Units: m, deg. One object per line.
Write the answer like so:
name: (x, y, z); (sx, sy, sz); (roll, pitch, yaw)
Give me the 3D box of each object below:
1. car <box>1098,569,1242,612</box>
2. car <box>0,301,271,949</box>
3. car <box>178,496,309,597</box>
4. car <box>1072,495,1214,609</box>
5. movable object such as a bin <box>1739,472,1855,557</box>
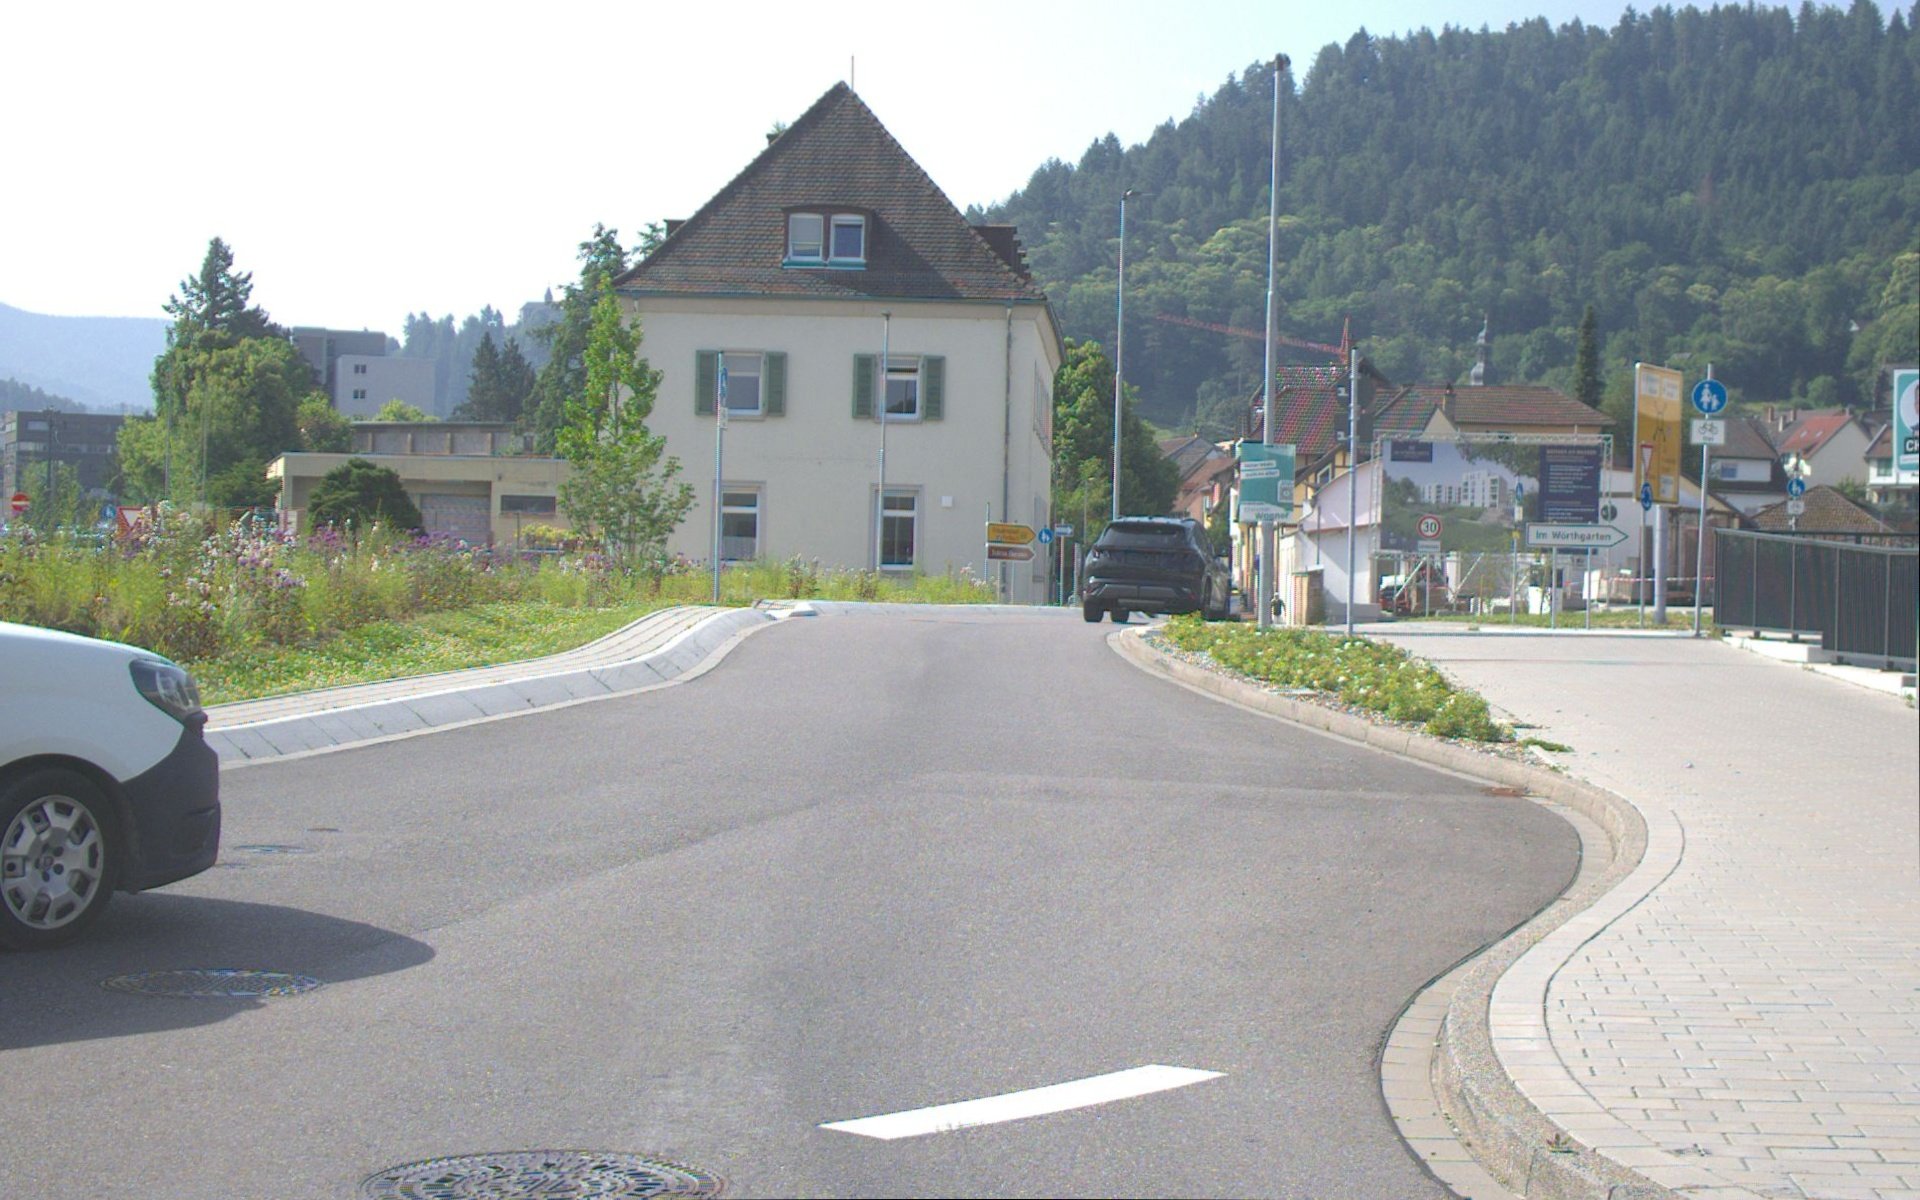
car: (4.791, -0.220, 78.699); (1.346, 0.961, 3.278); (1, 0, -41)
car: (-4.706, 0.046, 10.879); (4.590, 2.070, 1.812); (-1, 4, -36)
car: (-14.790, -1.126, 71.130); (1.809, 2.007, 4.000); (1, 1, 1)
car: (2.859, -0.712, 53.021); (1.881, 1.678, 3.999); (1, 0, 7)
movable object such as a bin: (18.507, -1.887, 76.105); (2.444, 1.837, 1.427); (1, 0, 12)
